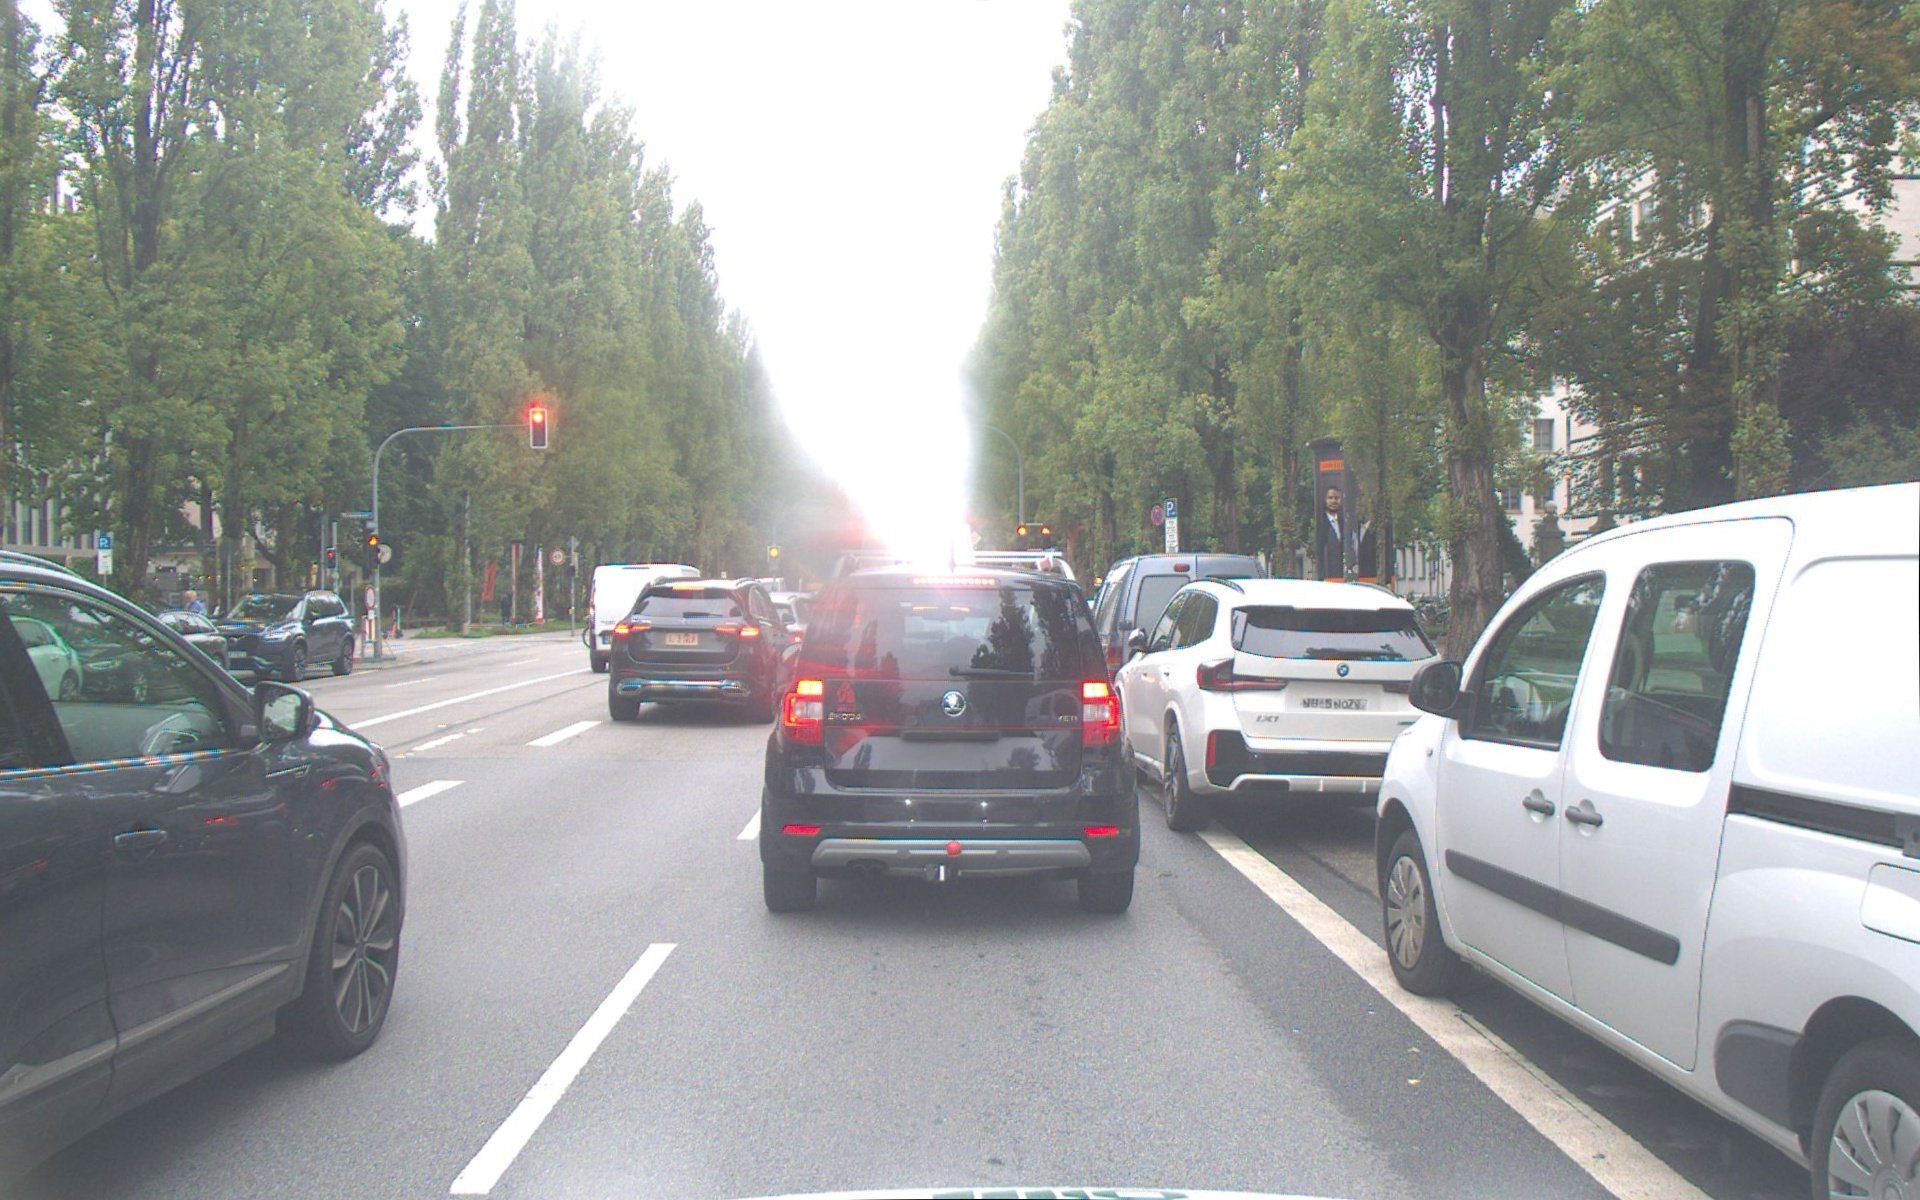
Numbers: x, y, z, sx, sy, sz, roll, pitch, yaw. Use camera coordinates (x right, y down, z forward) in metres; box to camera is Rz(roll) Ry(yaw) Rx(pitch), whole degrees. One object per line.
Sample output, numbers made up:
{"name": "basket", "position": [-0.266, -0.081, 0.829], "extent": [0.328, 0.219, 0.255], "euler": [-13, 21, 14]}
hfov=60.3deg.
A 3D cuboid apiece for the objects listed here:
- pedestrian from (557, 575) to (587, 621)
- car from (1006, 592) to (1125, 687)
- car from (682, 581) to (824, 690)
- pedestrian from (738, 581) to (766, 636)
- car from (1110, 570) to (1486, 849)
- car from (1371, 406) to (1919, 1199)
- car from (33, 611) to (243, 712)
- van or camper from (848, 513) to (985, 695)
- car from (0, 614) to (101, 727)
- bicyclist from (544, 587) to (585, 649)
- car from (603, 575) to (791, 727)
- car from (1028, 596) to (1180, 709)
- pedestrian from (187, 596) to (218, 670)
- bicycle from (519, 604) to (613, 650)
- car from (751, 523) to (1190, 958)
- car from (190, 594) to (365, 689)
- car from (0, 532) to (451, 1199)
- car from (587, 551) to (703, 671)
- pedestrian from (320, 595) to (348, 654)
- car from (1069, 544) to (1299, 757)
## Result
{"name": "pedestrian", "position": [-15.075, -0.080, 64.304], "extent": [0.861, 1.795, 0.879], "euler": [-1, 0, 7]}
{"name": "car", "position": [1.754, 0.626, 28.493], "extent": [1.700, 1.501, 3.561], "euler": [-1, 1, -2]}
{"name": "car", "position": [-3.247, 0.508, 26.672], "extent": [1.954, 1.588, 3.998], "euler": [-1, 1, -3]}
{"name": "pedestrian", "position": [-7.881, 0.328, 62.776], "extent": [0.867, 2.049, 1.013], "euler": [-1, 0, 1]}
{"name": "car", "position": [2.188, 0.621, 11.853], "extent": [1.706, 1.620, 4.210], "euler": [-1, 1, -2]}
{"name": "car", "position": [2.682, 0.559, 4.729], "extent": [1.814, 1.914, 4.166], "euler": [-1, 1, -3]}
{"name": "car", "position": [-13.494, 0.953, 27.424], "extent": [1.591, 1.413, 4.163], "euler": [-3, 0, -4]}
{"name": "van or camper", "position": [-0.741, 0.033, 25.760], "extent": [1.936, 2.593, 4.022], "euler": [-1, 0, -4]}
{"name": "car", "position": [-13.176, 0.960, 21.929], "extent": [1.591, 1.413, 4.163], "euler": [-3, 0, -4]}
{"name": "bicyclist", "position": [-11.390, 0.507, 47.632], "extent": [0.886, 1.752, 0.825], "euler": [-1, 0, 8]}
{"name": "car", "position": [-3.083, 0.539, 20.142], "extent": [1.745, 1.648, 4.023], "euler": [1, 1, -2]}
{"name": "car", "position": [1.940, 0.680, 23.196], "extent": [1.700, 1.411, 3.561], "euler": [-1, 1, -2]}
{"name": "pedestrian", "position": [-16.058, 0.686, 35.074], "extent": [0.455, 1.555, 0.395], "euler": [-1, 0, -1]}
{"name": "bicycle", "position": [-11.337, 0.770, 47.624], "extent": [2.481, 1.259, 0.813], "euler": [-1, 0, 8]}
{"name": "car", "position": [-0.006, 0.587, 8.999], "extent": [1.818, 1.801, 3.999], "euler": [1, 0, -2]}
{"name": "car", "position": [-13.645, 0.773, 33.370], "extent": [1.813, 1.683, 4.692], "euler": [-3, 0, -4]}
{"name": "car", "position": [-2.741, 0.667, 3.779], "extent": [1.797, 1.613, 4.186], "euler": [0, 0, 1]}
{"name": "car", "position": [-6.007, 0.186, 31.925], "extent": [1.746, 2.148, 4.021], "euler": [-1, 0, -5]}
{"name": "pedestrian", "position": [-16.503, 0.640, 43.584], "extent": [0.507, 1.511, 0.536], "euler": [-1, 0, -1]}
{"name": "car", "position": [2.185, 0.436, 17.127], "extent": [1.700, 1.928, 4.023], "euler": [-1, 1, -2]}
